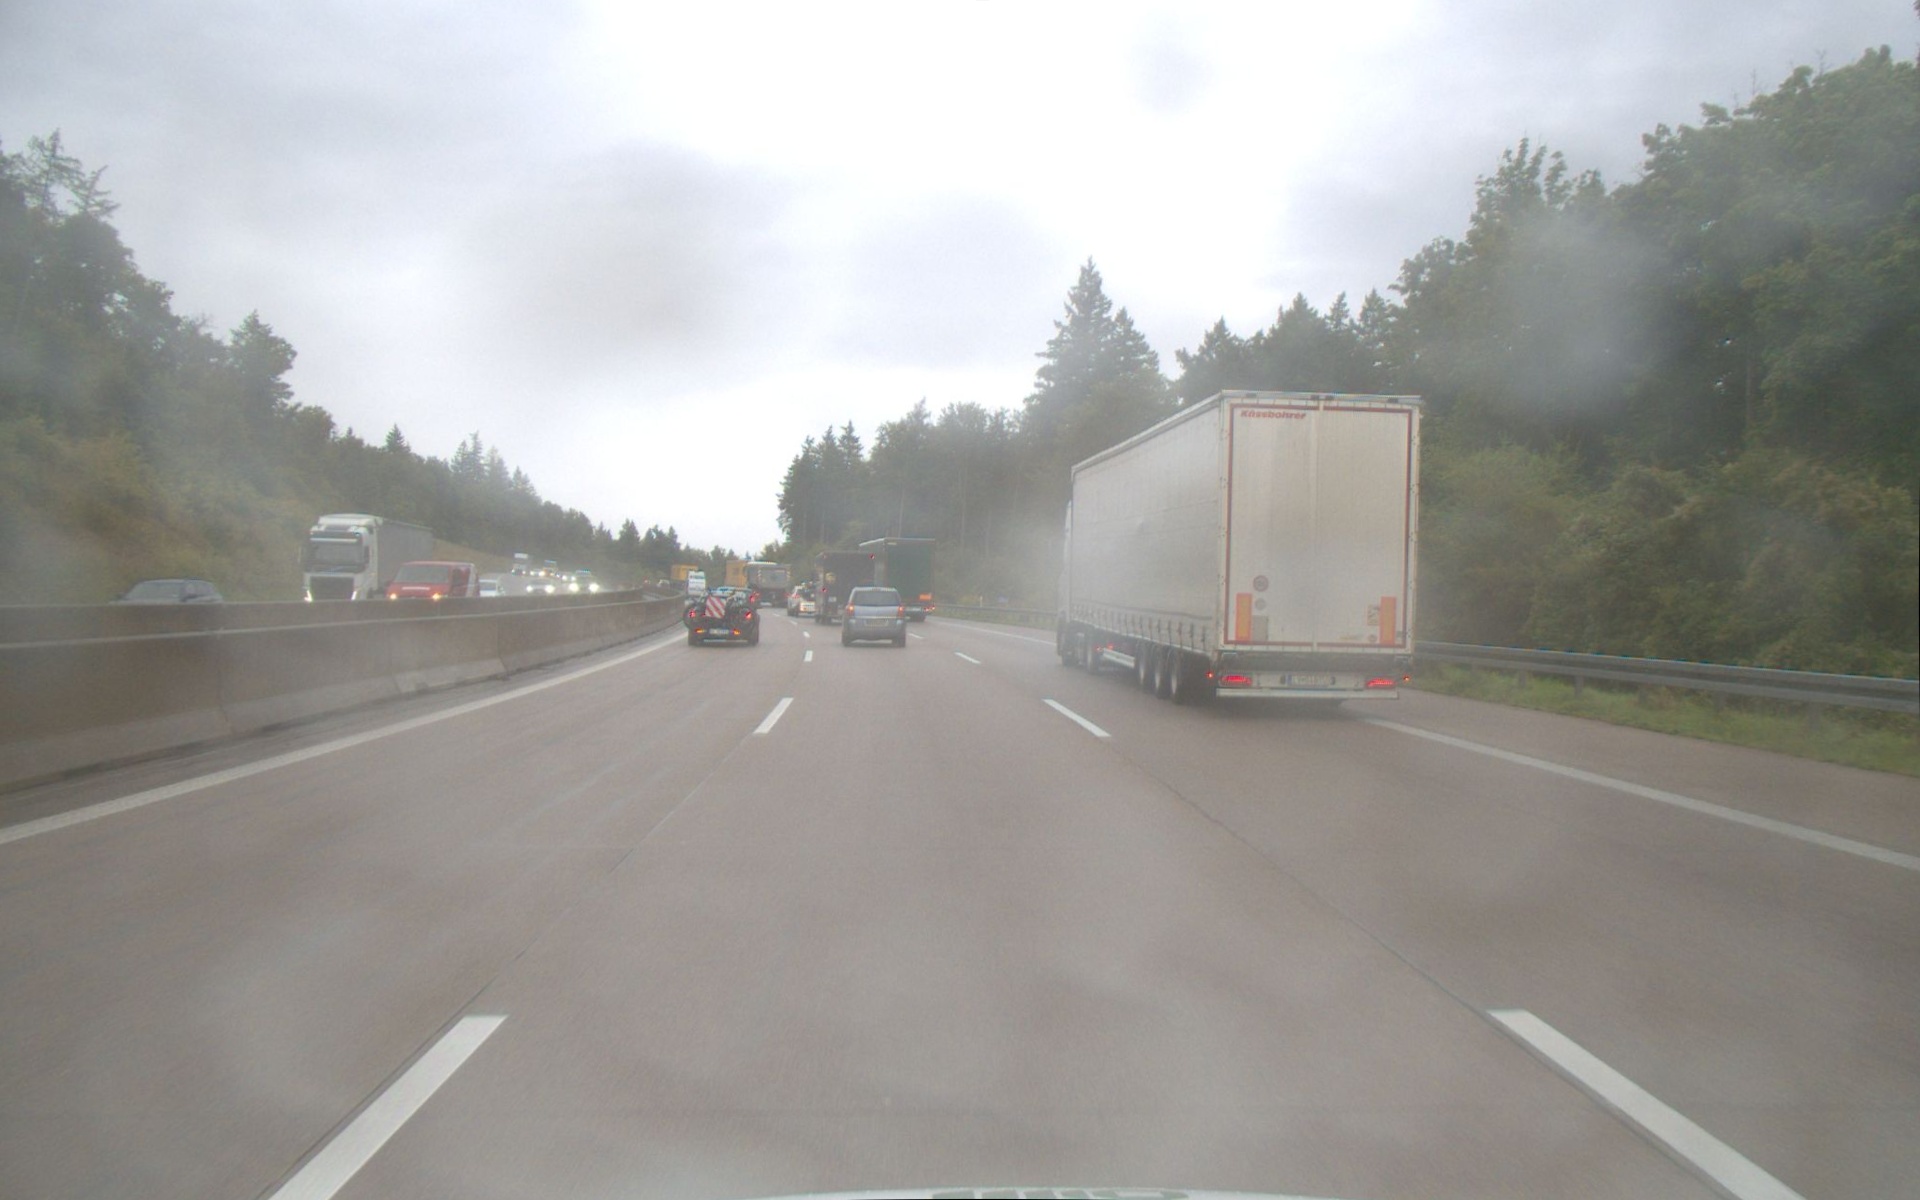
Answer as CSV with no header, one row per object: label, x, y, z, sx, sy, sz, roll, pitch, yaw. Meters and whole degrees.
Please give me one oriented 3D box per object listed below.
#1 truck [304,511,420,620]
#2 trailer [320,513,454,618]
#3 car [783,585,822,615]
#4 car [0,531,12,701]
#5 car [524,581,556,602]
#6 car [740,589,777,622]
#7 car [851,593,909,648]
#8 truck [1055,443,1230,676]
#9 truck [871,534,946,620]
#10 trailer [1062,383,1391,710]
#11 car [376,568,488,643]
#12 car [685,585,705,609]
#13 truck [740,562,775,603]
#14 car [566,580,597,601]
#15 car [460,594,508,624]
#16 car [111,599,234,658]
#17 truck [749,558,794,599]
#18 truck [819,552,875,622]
truck,-25.527,-1.417,71.007,2.692,4.359,8.304,0,0,-6
trailer,-26.015,-1.474,75.952,2.692,4.359,13.699,0,0,-6
car,-8.356,-0.009,87.915,1.844,1.498,3.998,2,0,-3
car,-12.790,0.200,18.170,1.954,2.119,5.328,0,0,-4
car,-29.258,-0.609,115.342,1.591,1.417,3.994,0,0,-7
car,-9.759,0.260,80.141,1.651,1.488,3.679,2,0,-6
car,-2.276,0.543,46.277,1.523,1.375,3.681,2,0,-4
truck,3.401,-0.728,31.914,2.373,4.139,4.972,0,0,-5
truck,-2.808,-1.156,86.520,3.304,4.204,10.426,0,0,-5
trailer,3.775,-0.709,27.043,2.373,4.139,12.041,0,0,-5
car,-15.720,0.154,49.538,1.954,2.119,5.328,0,0,-4
car,-23.539,-0.266,147.103,1.693,2.049,3.650,0,-1,-8
truck,-21.648,-1.838,176.752,3.669,4.284,6.806,0,-1,-7
car,-25.952,-0.662,113.425,1.591,1.417,3.994,0,0,-7
car,-23.202,0.430,80.694,1.591,1.417,3.994,0,0,-7
car,-20.348,0.704,42.905,1.590,1.417,3.995,0,0,-6
truck,-14.124,-1.614,123.457,3.026,2.956,7.886,0,1,-9
truck,-5.100,-0.609,73.809,2.225,2.937,7.894,0,1,-6
